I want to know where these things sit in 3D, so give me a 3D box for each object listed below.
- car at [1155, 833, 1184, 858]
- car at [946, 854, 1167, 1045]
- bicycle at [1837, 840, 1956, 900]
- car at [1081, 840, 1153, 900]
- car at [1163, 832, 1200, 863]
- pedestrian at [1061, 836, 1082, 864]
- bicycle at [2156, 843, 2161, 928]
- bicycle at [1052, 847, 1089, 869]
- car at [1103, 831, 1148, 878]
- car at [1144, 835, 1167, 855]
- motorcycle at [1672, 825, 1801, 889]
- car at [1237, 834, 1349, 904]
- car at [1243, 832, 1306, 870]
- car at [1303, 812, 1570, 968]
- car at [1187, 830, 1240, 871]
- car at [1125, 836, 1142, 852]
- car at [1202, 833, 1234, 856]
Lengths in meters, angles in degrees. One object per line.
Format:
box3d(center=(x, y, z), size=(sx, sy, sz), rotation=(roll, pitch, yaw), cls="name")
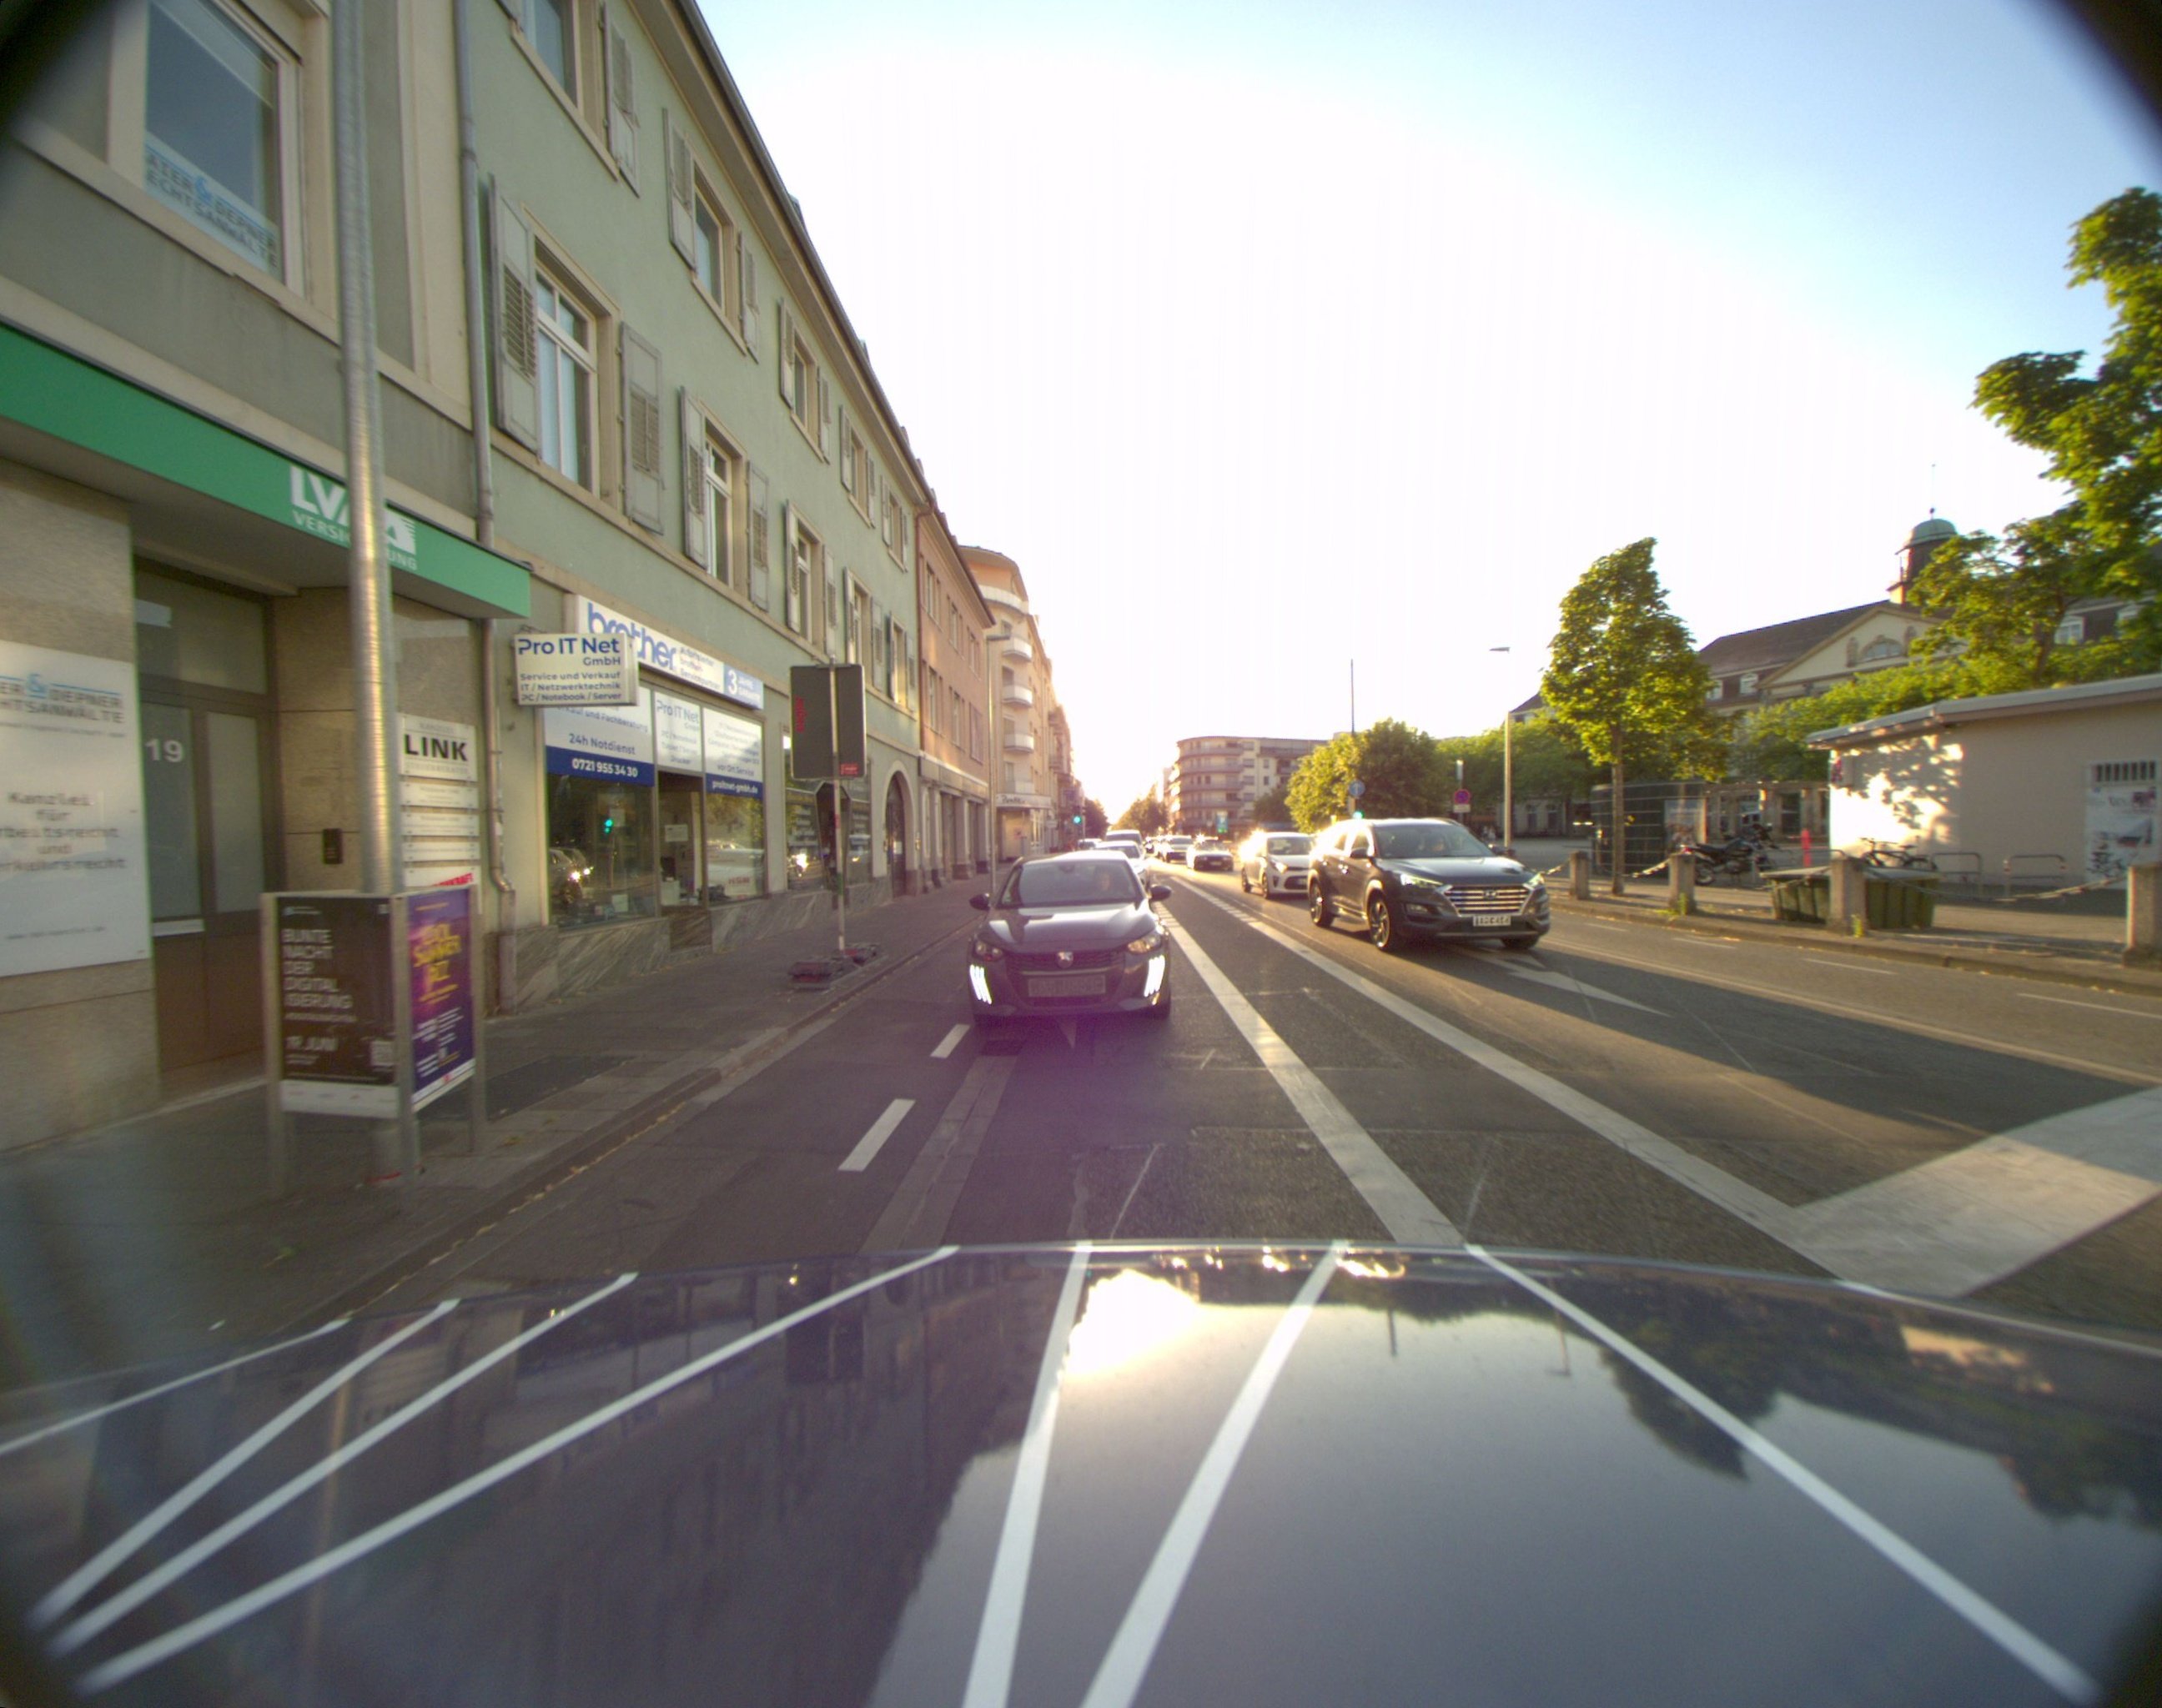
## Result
box3d(center=(6.498, -0.648, 56.150), size=(1.879, 1.762, 4.000), rotation=(-1, 1, 4), cls="car")
box3d(center=(-0.037, 0.782, 8.081), size=(1.750, 1.435, 3.906), rotation=(-2, 1, 5), cls="car")
box3d(center=(15.613, 0.309, 14.568), size=(1.810, 1.096, 0.396), rotation=(-1, 2, 1), cls="bicycle")
box3d(center=(1.018, 0.389, 21.706), size=(1.827, 1.463, 3.985), rotation=(-2, 1, 3), cls="car")
box3d(center=(5.892, -0.412, 45.099), size=(1.827, 1.731, 3.985), rotation=(0, 1, 2), cls="car")
box3d(center=(-0.453, -0.202, 36.740), size=(0.857, 1.343, 0.563), rotation=(-1, 2, 13), cls="pedestrian")
box3d(center=(15.171, 0.408, 9.790), size=(1.870, 1.108, 0.449), rotation=(-1, 2, 2), cls="bicycle")
box3d(center=(-0.502, 0.193, 36.763), size=(1.701, 1.051, 0.563), rotation=(-1, 2, 13), cls="bicycle")
box3d(center=(1.912, -0.014, 33.020), size=(1.827, 1.918, 3.985), rotation=(0, 1, 2), cls="car")
box3d(center=(6.611, -0.821, 67.559), size=(1.879, 1.762, 4.000), rotation=(-1, 1, 4), cls="car")
box3d(center=(15.361, 0.068, 17.842), size=(2.398, 1.438, 0.700), rotation=(-1, 2, 1), cls="motorcycle")
box3d(center=(4.960, 0.286, 18.305), size=(1.718, 1.463, 3.985), rotation=(-1, 1, 3), cls="car")
box3d(center=(8.747, -0.159, 34.681), size=(1.880, 1.594, 3.999), rotation=(-1, 1, 1), cls="car")
box3d(center=(4.522, 0.355, 10.464), size=(1.827, 1.688, 4.259), rotation=(-1, 1, 2), cls="car")
box3d(center=(5.793, -0.189, 33.628), size=(1.827, 1.731, 3.985), rotation=(0, 1, 2), cls="car")
box3d(center=(6.162, -1.215, 89.303), size=(1.879, 1.762, 4.000), rotation=(-1, 1, 3), cls="car")
box3d(center=(10.365, -0.732, 57.833), size=(1.827, 1.688, 3.984), rotation=(1, 1, 2), cls="car")
